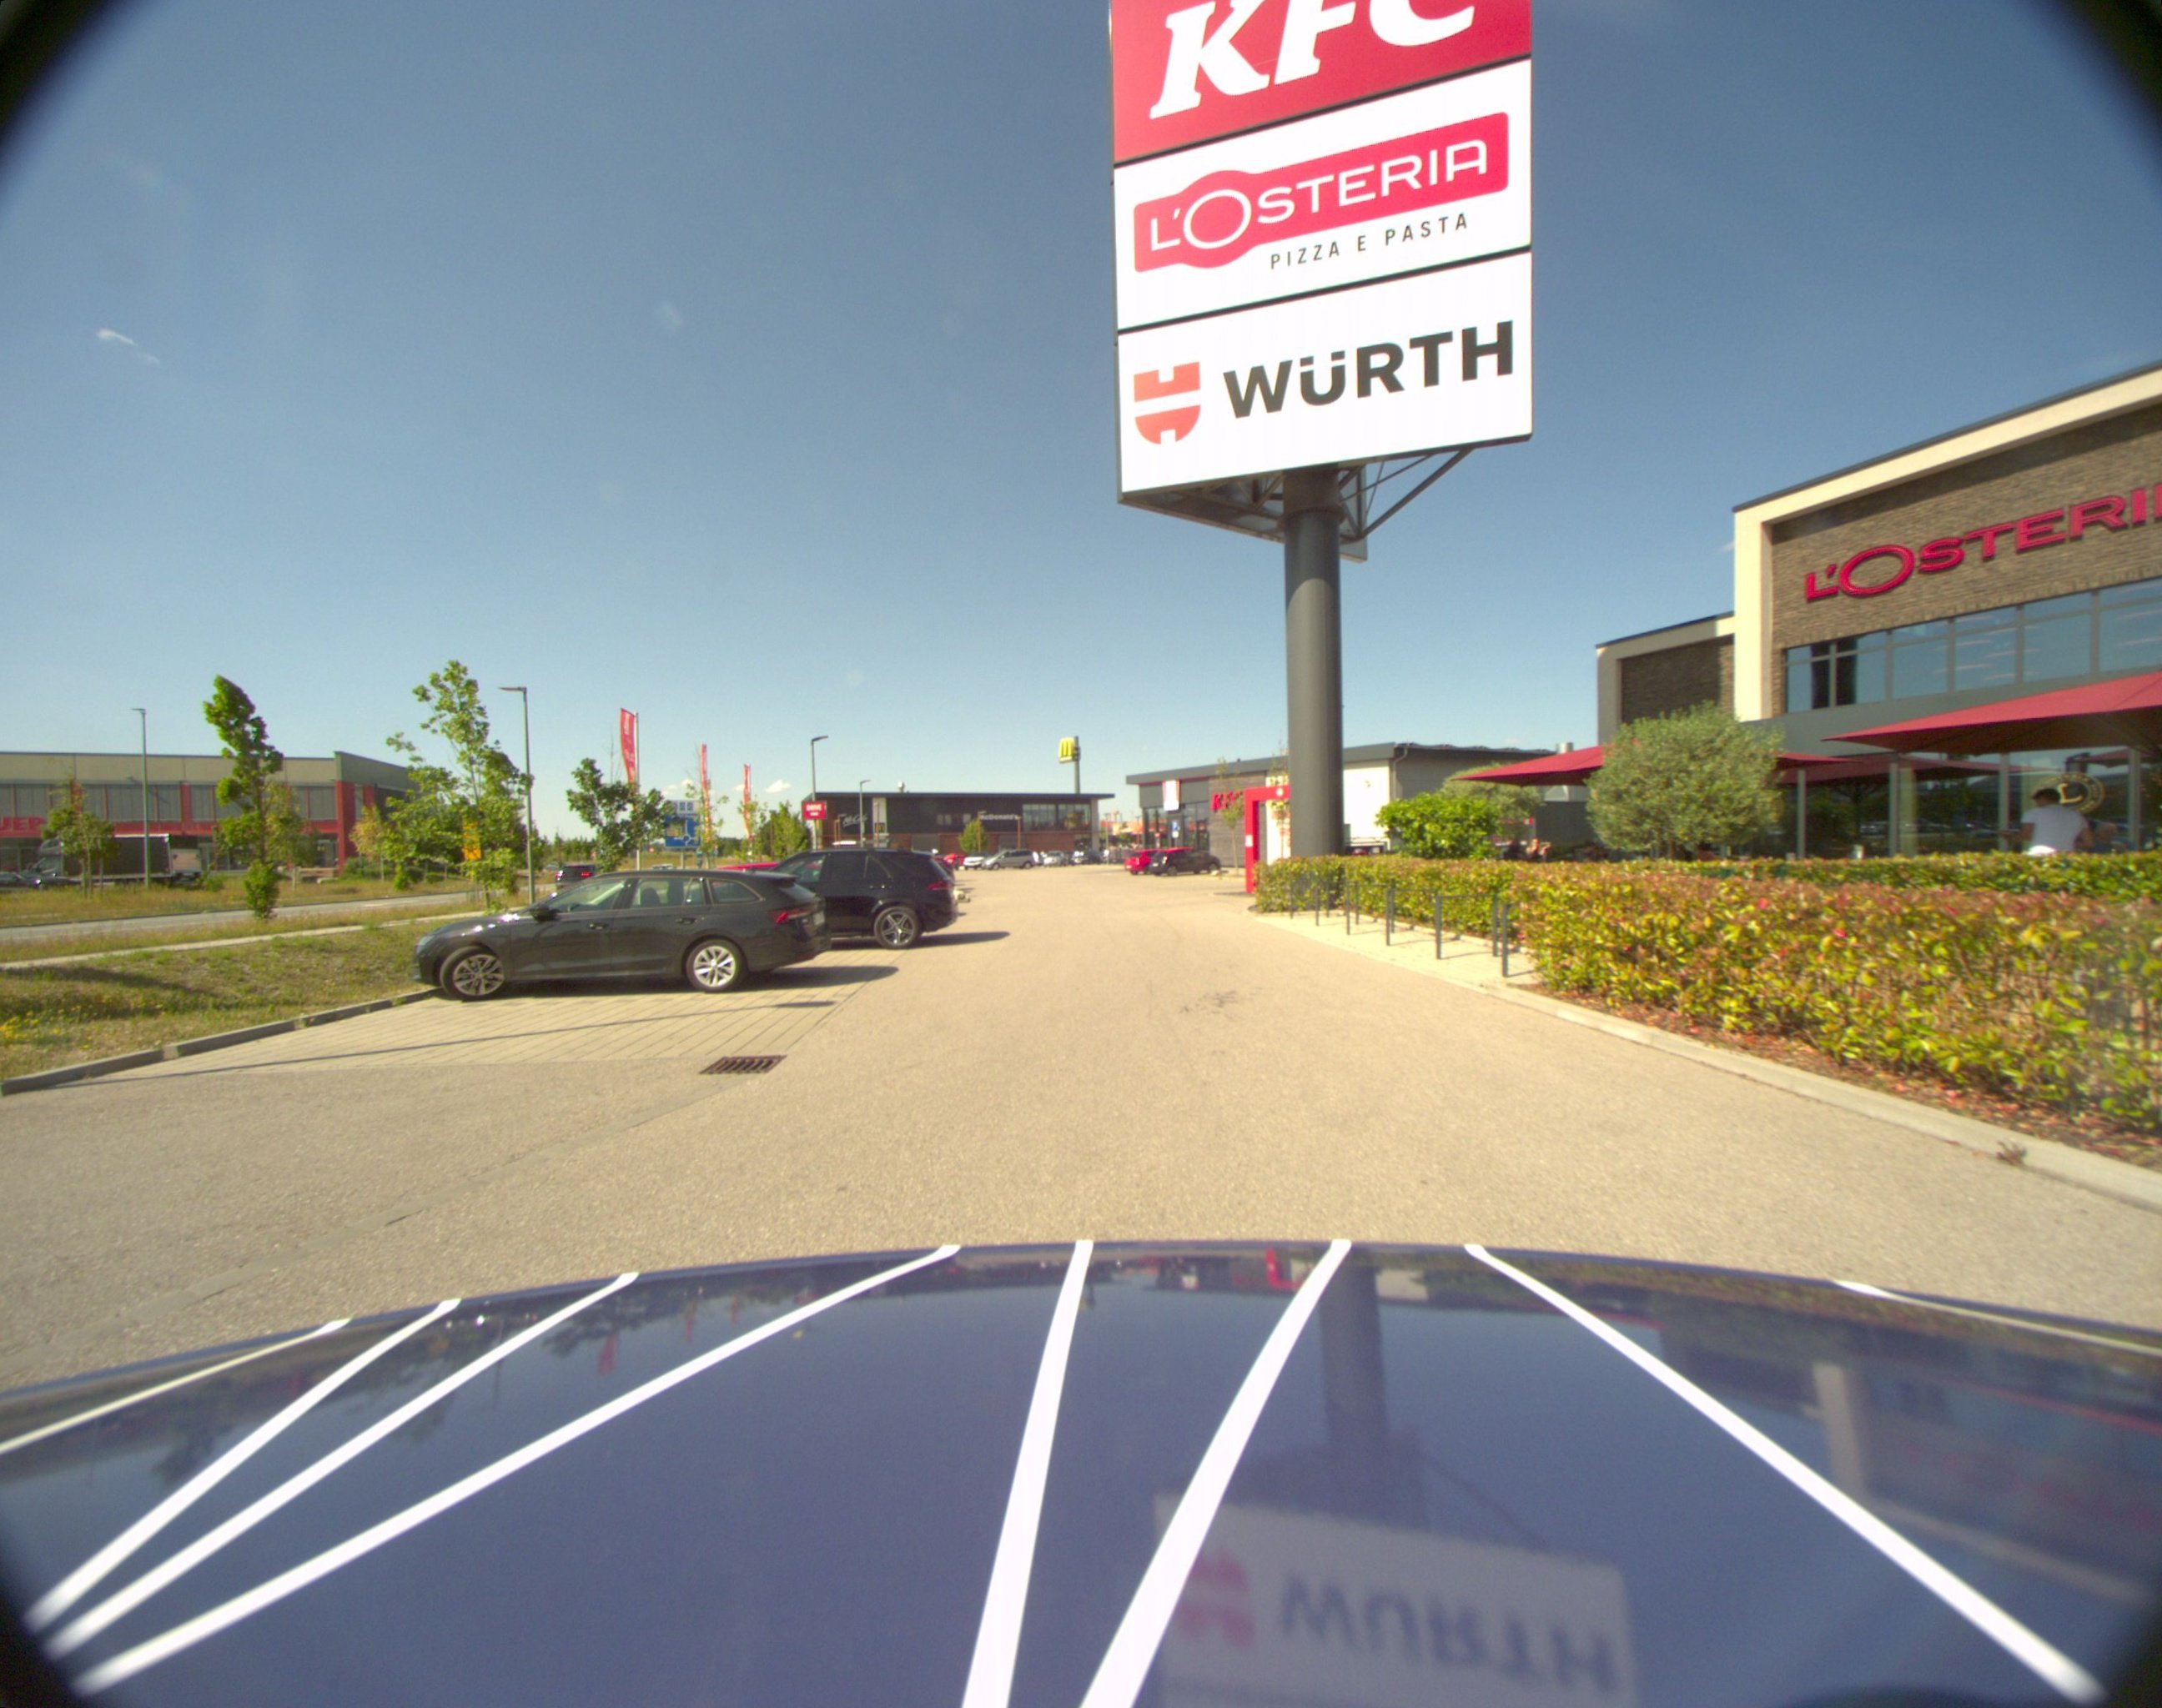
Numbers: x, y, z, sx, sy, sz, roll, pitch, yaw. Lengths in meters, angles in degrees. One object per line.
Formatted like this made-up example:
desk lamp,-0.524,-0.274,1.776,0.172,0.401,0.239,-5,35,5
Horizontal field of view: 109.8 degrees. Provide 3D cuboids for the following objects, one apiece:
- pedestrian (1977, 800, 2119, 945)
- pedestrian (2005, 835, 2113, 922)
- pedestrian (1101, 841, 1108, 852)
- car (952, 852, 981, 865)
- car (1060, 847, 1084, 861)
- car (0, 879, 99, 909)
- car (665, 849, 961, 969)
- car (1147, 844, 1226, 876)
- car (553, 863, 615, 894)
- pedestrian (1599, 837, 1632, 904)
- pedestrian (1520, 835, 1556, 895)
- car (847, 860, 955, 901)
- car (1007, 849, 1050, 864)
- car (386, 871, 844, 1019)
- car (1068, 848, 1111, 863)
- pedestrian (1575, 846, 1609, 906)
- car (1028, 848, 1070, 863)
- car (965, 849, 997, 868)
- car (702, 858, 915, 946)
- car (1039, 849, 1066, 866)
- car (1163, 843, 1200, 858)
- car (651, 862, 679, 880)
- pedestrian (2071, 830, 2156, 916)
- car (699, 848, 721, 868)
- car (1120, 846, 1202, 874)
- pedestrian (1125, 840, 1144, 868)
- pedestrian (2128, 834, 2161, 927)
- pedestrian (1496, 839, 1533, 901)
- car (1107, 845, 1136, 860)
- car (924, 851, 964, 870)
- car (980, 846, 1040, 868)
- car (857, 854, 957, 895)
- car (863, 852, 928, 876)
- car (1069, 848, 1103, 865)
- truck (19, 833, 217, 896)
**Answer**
pedestrian,11.814,0.219,9.303,0.785,1.678,0.762,-2,1,-6
pedestrian,13.909,0.338,10.823,0.709,1.191,0.617,-2,1,12
pedestrian,3.426,-1.072,112.956,0.700,1.550,0.723,-1,1,37
car,-13.702,0.494,91.464,1.959,1.457,4.471,-2,0,13
car,-1.142,-0.026,97.161,1.713,1.603,4.042,-2,0,20
car,-56.768,2.169,41.235,3.970,1.451,1.652,-2,0,-20
car,-4.541,0.885,13.553,4.589,1.750,1.894,-2,1,-7
car,5.739,0.304,41.403,3.913,1.498,1.737,-3,1,-25
car,-30.055,1.421,46.128,2.002,1.723,4.751,-2,0,-19
pedestrian,11.129,0.330,15.825,0.480,1.359,0.652,-1,1,41
pedestrian,11.605,0.278,19.303,0.526,1.496,0.568,-2,1,-27
car,-7.497,1.075,31.813,4.208,1.402,1.771,-3,1,-14
car,-5.529,0.265,80.082,4.105,1.484,1.714,-2,1,21
car,-5.468,1.020,9.508,4.454,1.478,1.876,-1,0,-7
car,0.927,0.201,82.690,4.270,1.478,1.816,-2,1,21
pedestrian,10.393,0.432,15.448,0.480,1.178,0.652,-1,1,41
car,-3.471,0.130,81.804,4.105,1.506,1.816,-2,1,21
car,-9.065,0.386,69.219,1.973,1.645,4.209,-2,0,5
car,-5.830,0.987,16.768,4.082,1.599,1.894,-3,0,-10
car,-2.654,0.278,71.954,1.973,1.517,4.209,-2,0,5
car,11.869,-0.407,89.451,3.991,1.543,1.757,-2,0,18
car,-42.959,1.747,78.521,2.030,1.707,4.294,-2,0,-23
pedestrian,15.026,0.265,11.061,0.711,1.191,0.666,-2,1,-32
car,-42.126,0.496,86.367,2.002,2.184,5.096,-2,0,-23
car,4.622,0.325,43.929,4.407,1.405,1.736,-3,1,-27
pedestrian,3.587,0.010,50.889,0.727,1.799,0.992,-3,2,-28
pedestrian,14.188,0.331,9.786,0.710,1.191,0.616,-2,1,-16
pedestrian,10.841,0.394,19.001,0.526,1.496,0.568,-2,1,-27
car,4.069,-0.150,75.658,1.833,1.451,4.375,-2,0,16
car,-12.191,0.554,67.845,1.972,1.517,4.211,-2,0,13
car,-6.111,0.230,65.517,4.689,1.738,1.829,-2,1,-25
car,-7.842,0.894,34.481,4.232,1.628,1.948,-3,1,-12
car,-13.694,0.717,56.044,4.484,1.461,1.830,-3,1,-18
car,0.526,0.208,73.462,1.971,1.478,4.789,-2,0,18
truck,-57.654,0.564,45.736,6.838,3.460,2.764,-2,1,-19
